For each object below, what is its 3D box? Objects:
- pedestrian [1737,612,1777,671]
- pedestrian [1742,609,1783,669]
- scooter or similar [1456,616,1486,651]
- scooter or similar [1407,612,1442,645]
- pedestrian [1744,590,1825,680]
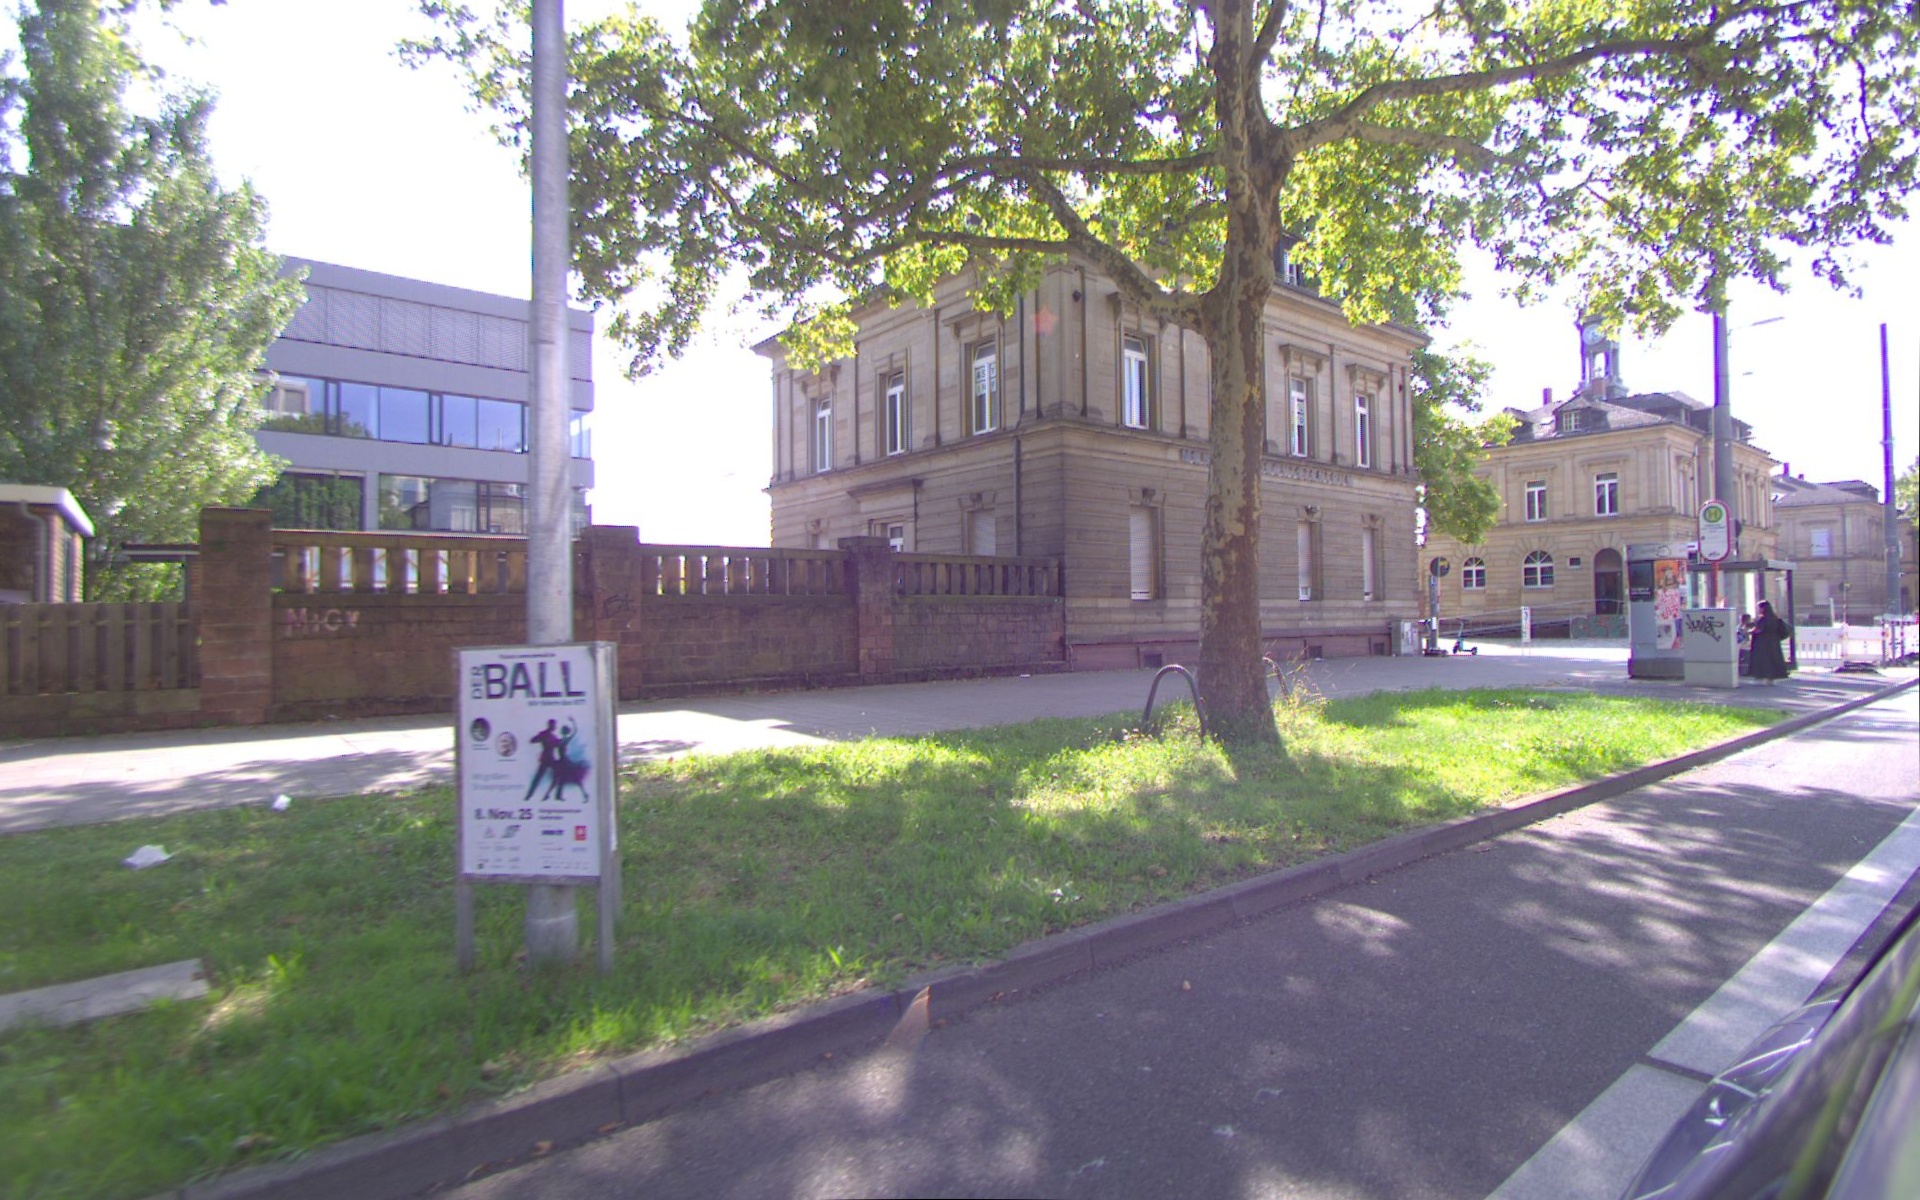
[{"bbox_3d":[17.273,0.890,21.932,0.564,1.233,0.609,0,0,-42],"label":"pedestrian"},{"bbox_3d":[17.776,0.853,22.412,0.746,1.293,0.609,0,0,-42],"label":"pedestrian"},{"bbox_3d":[17.776,1.166,35.193,1.202,1.181,0.410,0,-1,-35],"label":"scooter or similar"},{"bbox_3d":[16.571,1.013,36.095,0.307,1.147,1.093,1,-2,-42],"label":"scooter or similar"},{"bbox_3d":[15.463,0.656,19.010,0.871,1.647,0.819,-1,-1,14],"label":"pedestrian"}]
